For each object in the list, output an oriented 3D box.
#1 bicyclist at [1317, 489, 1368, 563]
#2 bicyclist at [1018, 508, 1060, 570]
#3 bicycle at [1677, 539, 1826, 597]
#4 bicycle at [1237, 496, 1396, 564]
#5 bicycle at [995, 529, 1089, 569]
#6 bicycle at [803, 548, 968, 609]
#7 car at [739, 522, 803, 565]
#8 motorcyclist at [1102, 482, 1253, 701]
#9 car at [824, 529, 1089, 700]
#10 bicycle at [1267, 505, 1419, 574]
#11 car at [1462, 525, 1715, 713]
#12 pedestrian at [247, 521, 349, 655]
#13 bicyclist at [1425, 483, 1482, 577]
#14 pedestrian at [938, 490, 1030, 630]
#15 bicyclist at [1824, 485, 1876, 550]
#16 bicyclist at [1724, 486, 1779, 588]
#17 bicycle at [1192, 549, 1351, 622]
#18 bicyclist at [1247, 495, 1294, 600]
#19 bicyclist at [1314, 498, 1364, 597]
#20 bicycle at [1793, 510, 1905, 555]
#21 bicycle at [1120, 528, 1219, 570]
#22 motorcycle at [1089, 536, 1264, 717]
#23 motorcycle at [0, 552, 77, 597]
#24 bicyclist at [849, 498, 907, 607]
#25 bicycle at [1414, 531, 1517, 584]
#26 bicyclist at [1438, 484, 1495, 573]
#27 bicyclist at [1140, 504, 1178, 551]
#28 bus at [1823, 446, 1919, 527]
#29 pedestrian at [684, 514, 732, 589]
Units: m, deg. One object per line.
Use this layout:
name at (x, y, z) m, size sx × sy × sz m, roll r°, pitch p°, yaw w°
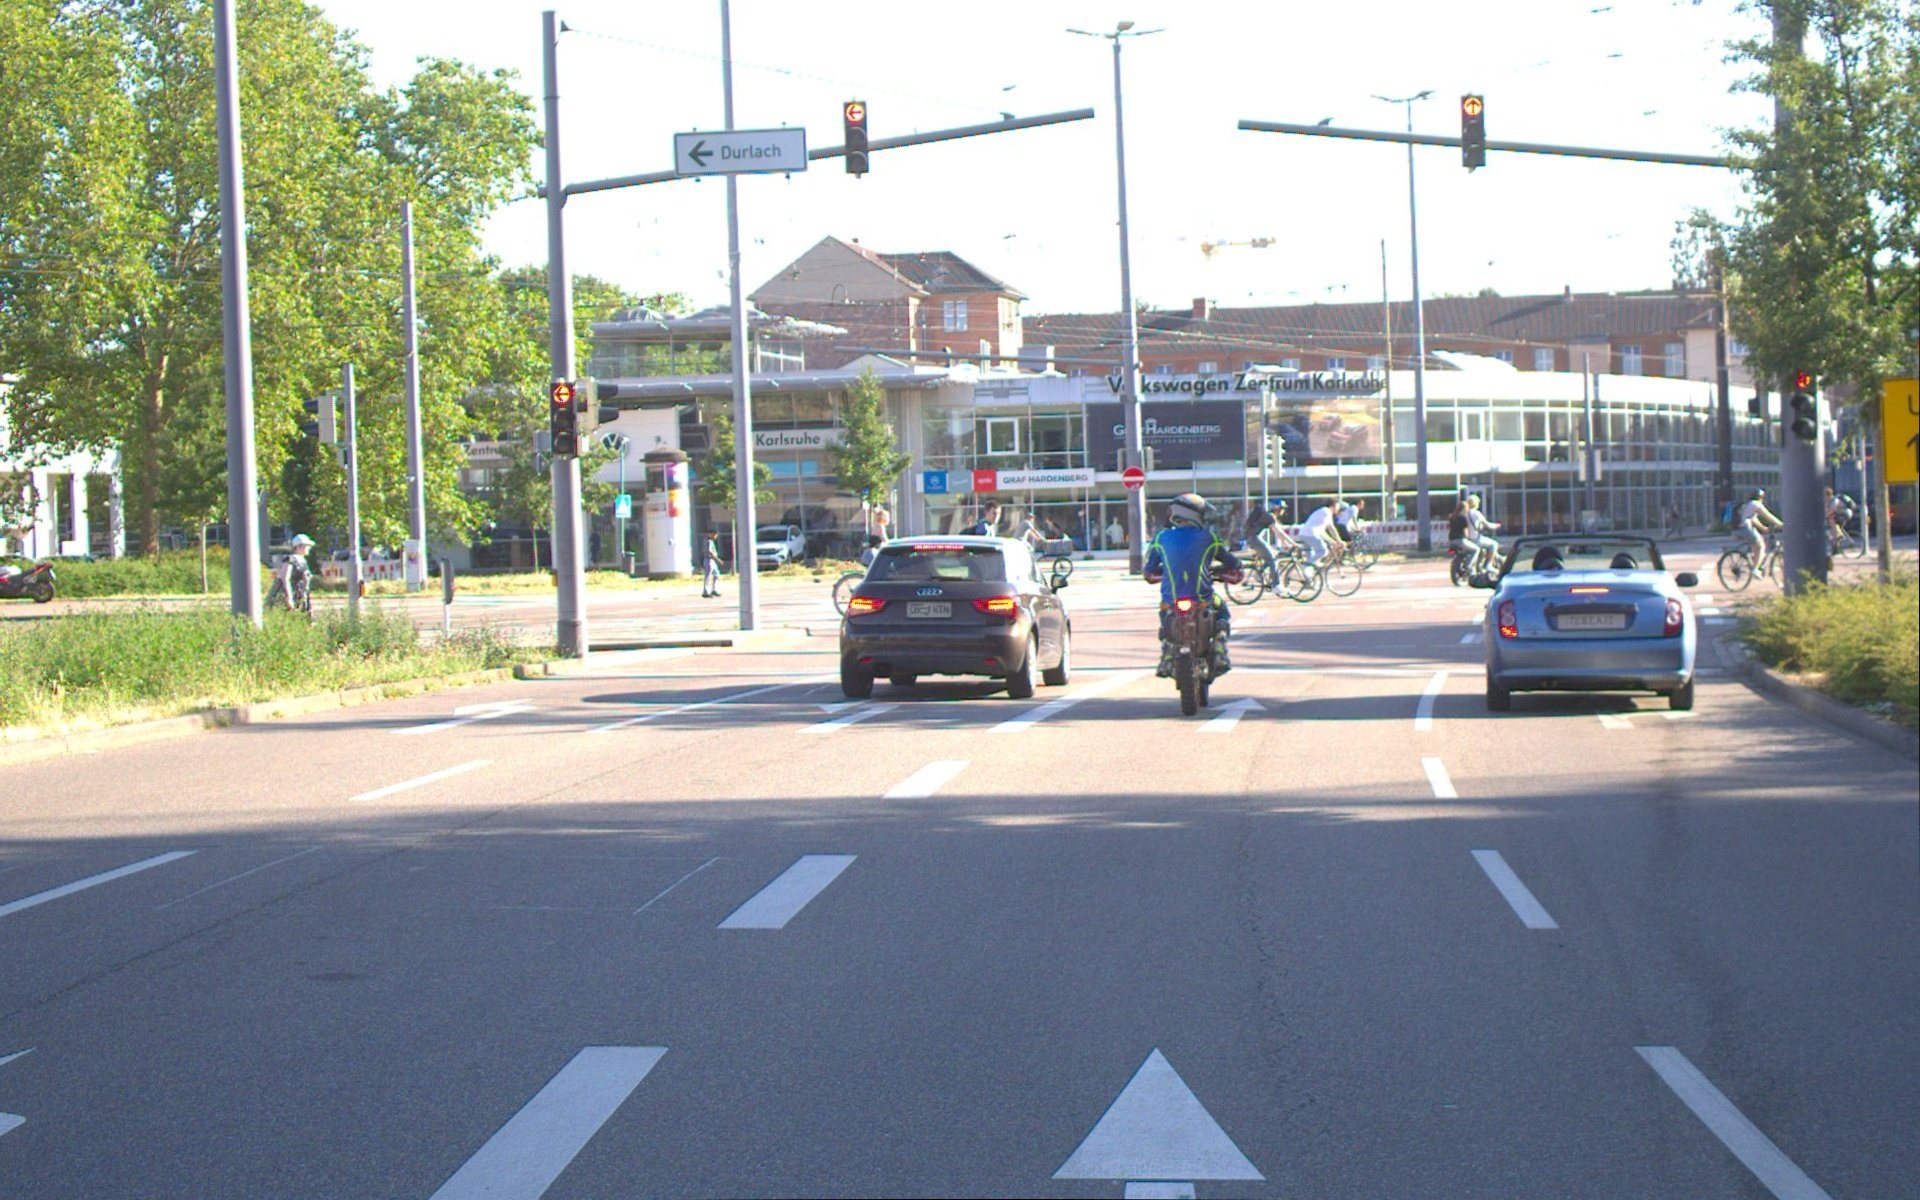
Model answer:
bicyclist at (10.073, -1.964, 90.583) m, size 1.070 × 1.894 × 1.123 m, roll -1°, pitch 3°, yaw -9°
bicyclist at (2.031, -1.569, 88.657) m, size 0.923 × 1.554 × 0.860 m, roll -1°, pitch 3°, yaw -9°
bicycle at (13.348, -0.546, 58.001) m, size 2.295 × 0.902 × 0.860 m, roll -1°, pitch 3°, yaw -6°
bicycle at (9.372, -1.852, 90.486) m, size 3.986 × 1.684 × 1.139 m, roll -1°, pitch 3°, yaw -9°
bicycle at (2.115, -1.322, 88.696) m, size 2.295 × 0.976 × 0.860 m, roll -1°, pitch 3°, yaw -8°
bicycle at (-1.184, -0.351, 54.686) m, size 2.492 × 0.871 × 0.860 m, roll -1°, pitch 3°, yaw -12°
car at (-7.335, -2.209, 133.777) m, size 1.994 × 1.529 × 4.000 m, roll -1°, pitch 3°, yaw 3°
motorcyclist at (1.747, -0.074, 27.522) m, size 1.096 × 1.715 × 0.936 m, roll 0°, pitch 1°, yaw 10°
car at (0.035, 0.082, 31.310) m, size 1.801 × 1.439 × 3.977 m, roll 0°, pitch 1°, yaw 9°
bicycle at (6.676, -1.063, 59.954) m, size 2.492 × 1.129 × 0.860 m, roll -1°, pitch 3°, yaw -9°
car at (5.291, 0.098, 28.618) m, size 1.802 × 1.439 × 3.976 m, roll 0°, pitch 1°, yaw 14°
pedestrian at (-8.120, -0.156, 42.175) m, size 1.092 × 1.601 × 0.699 m, roll -1°, pitch 3°, yaw -1°
bicyclist at (9.382, -1.330, 65.382) m, size 0.866 × 1.771 × 0.583 m, roll -1°, pitch 1°, yaw 42°
pedestrian at (0.289, -0.484, 41.714) m, size 0.826 × 1.666 × 0.699 m, roll -2°, pitch 1°, yaw -30°
bicyclist at (21.634, -1.996, 83.568) m, size 0.923 × 1.554 × 0.963 m, roll -2°, pitch 1°, yaw -6°
bicyclist at (13.349, -1.072, 57.984) m, size 0.649 × 1.685 × 0.860 m, roll -1°, pitch 3°, yaw -6°
bicycle at (5.123, -0.246, 56.629) m, size 2.493 × 1.129 × 0.860 m, roll -1°, pitch 3°, yaw -2°
bicyclist at (5.104, -0.867, 56.601) m, size 0.649 × 1.685 × 0.860 m, roll -1°, pitch 3°, yaw -2°
bicyclist at (6.609, -0.930, 59.949) m, size 0.649 × 1.685 × 0.860 m, roll -1°, pitch 3°, yaw -9°
bicycle at (21.602, -1.642, 83.571) m, size 2.437 × 1.000 × 0.963 m, roll -2°, pitch 1°, yaw -6°
bicycle at (5.256, -1.283, 86.223) m, size 2.295 × 0.956 × 0.860 m, roll -3°, pitch 3°, yaw -15°
motorcycle at (1.765, 0.182, 27.570) m, size 1.096 × 1.372 × 2.652 m, roll 0°, pitch 1°, yaw 10°
motorcycle at (-23.226, -0.637, 85.624) m, size 2.284 × 1.050 × 0.688 m, roll -1°, pitch 3°, yaw -4°
bicyclist at (-1.307, -0.768, 54.626) m, size 0.745 × 1.685 × 0.860 m, roll -1°, pitch 3°, yaw -12°
bicycle at (9.672, -0.815, 65.746) m, size 0.859 × 0.902 × 2.298 m, roll 2°, pitch 4°, yaw 40°
bicyclist at (9.693, -1.376, 65.740) m, size 0.859 × 1.685 × 0.650 m, roll 2°, pitch 4°, yaw 40°
bicyclist at (4.986, -1.827, 86.111) m, size 0.712 × 1.139 × 0.838 m, roll -2°, pitch 3°, yaw -16°
bus at (35.406, -4.410, 132.314) m, size 2.357 × 2.873 × 9.566 m, roll 1°, pitch 3°, yaw 26°
pedestrian at (-6.222, -1.194, 85.018) m, size 0.989 × 1.810 × 0.920 m, roll 0°, pitch 3°, yaw 7°
